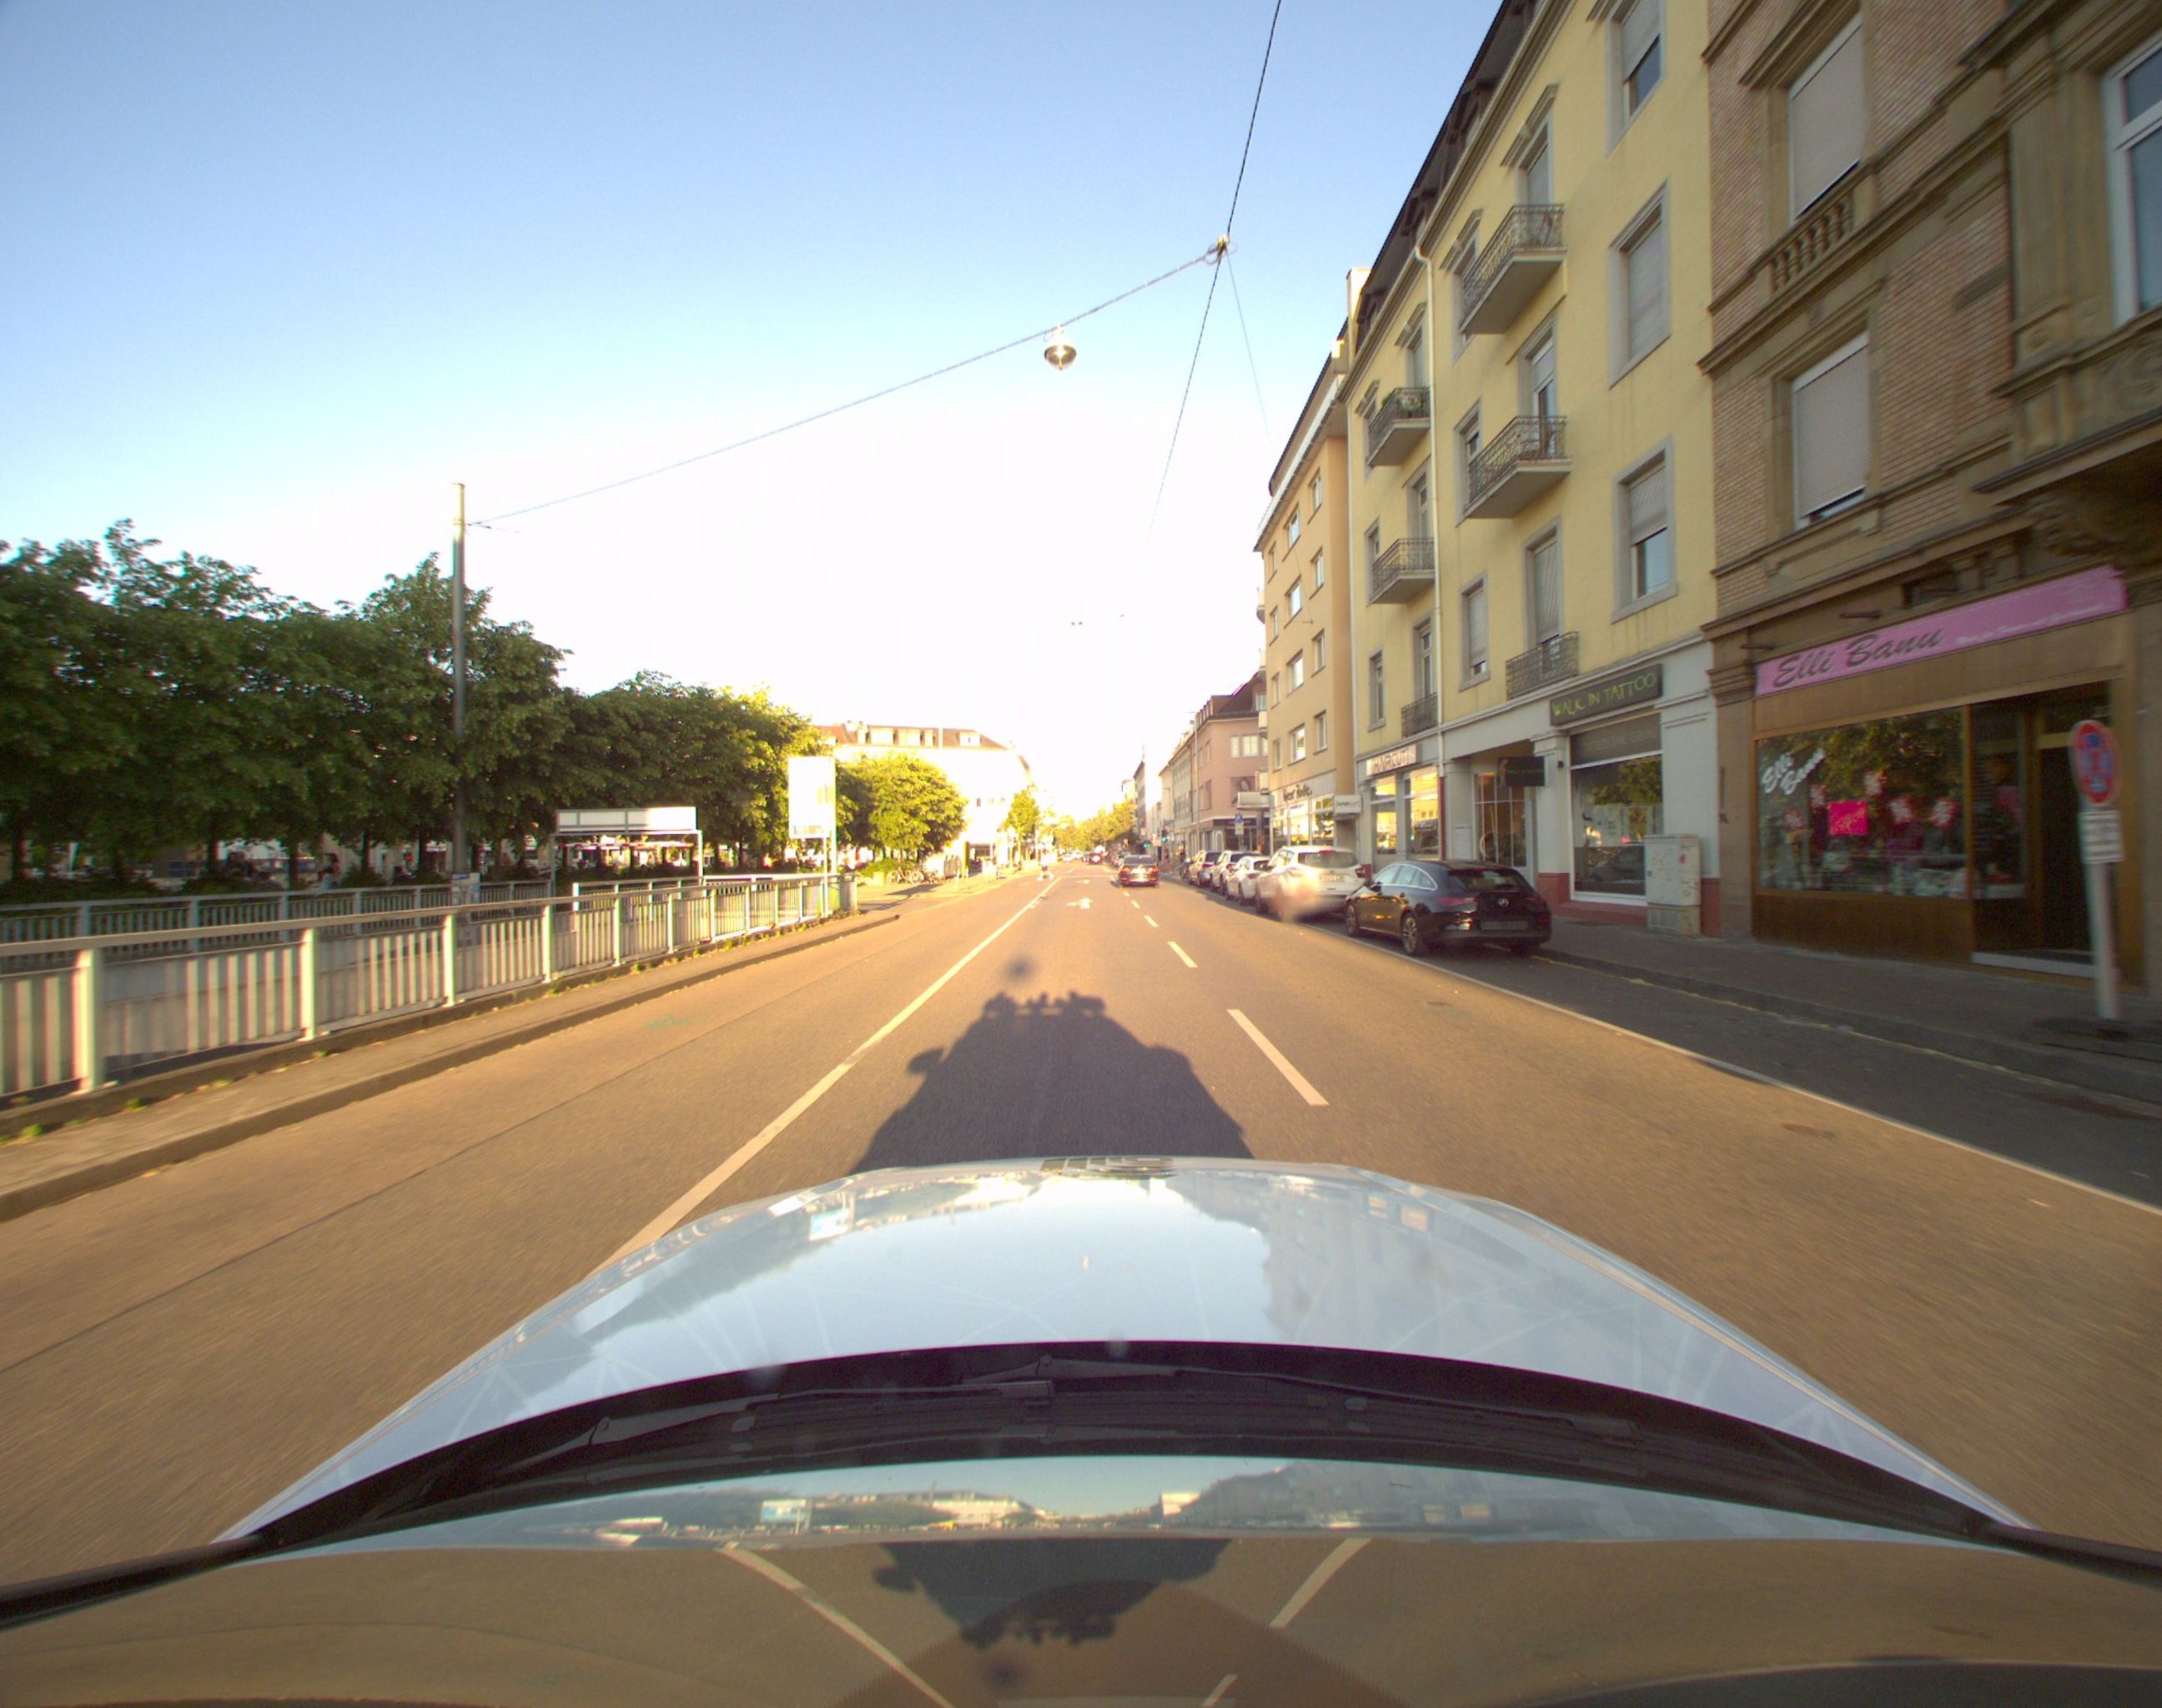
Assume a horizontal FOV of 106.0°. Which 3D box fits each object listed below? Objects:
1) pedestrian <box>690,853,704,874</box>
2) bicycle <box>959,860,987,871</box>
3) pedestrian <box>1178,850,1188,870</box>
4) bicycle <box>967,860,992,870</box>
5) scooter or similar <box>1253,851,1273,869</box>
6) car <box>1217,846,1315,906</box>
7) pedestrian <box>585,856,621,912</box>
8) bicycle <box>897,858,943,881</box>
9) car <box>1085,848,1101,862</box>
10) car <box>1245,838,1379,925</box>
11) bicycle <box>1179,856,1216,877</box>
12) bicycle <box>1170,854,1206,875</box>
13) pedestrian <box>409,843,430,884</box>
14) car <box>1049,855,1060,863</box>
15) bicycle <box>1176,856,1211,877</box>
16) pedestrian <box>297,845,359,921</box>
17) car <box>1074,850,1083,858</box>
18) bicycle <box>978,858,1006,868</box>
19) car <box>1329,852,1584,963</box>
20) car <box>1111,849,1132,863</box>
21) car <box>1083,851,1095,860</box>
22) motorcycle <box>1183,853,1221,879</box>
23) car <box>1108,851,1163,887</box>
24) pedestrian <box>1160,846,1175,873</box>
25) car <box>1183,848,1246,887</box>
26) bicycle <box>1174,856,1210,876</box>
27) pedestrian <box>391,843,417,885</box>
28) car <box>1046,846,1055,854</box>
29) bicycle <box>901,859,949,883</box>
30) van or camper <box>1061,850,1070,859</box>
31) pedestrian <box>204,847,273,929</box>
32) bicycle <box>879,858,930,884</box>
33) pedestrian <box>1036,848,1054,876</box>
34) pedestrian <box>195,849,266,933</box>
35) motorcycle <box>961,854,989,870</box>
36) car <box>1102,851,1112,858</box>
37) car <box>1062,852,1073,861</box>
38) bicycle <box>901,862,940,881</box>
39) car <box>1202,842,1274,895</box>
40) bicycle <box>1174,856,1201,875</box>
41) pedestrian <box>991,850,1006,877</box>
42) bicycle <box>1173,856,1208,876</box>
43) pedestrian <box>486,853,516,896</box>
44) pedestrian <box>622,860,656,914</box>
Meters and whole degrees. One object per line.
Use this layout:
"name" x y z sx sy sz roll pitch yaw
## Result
"pedestrian" -32.091 0.790 68.093 0.885 1.778 0.714 -1 0 38
"bicycle" -10.205 1.077 76.955 2.517 0.919 0.700 -1 0 -2
"pedestrian" 9.267 0.539 73.907 0.756 1.777 1.047 -1 0 -4
"bicycle" -9.765 1.051 78.218 2.321 0.919 0.700 -1 0 -2
"scooter or similar" 12.496 0.411 55.949 1.305 1.264 0.527 0 0 22
"car" 5.529 0.586 24.975 2.008 1.543 4.871 -1 1 1
"pedestrian" -16.810 1.052 28.653 0.796 1.948 0.733 -1 0 13
"bicycle" -8.709 0.846 44.078 2.424 1.237 0.462 -1 0 -2
"car" 1.519 0.138 105.670 1.987 1.750 4.001 -1 0 1
"car" 5.253 0.529 19.200 1.876 1.745 4.660 -1 1 0
"bicycle" 6.315 0.694 44.174 1.879 1.112 0.592 0 -2 -3
"bicycle" 6.104 0.590 46.501 1.880 1.167 0.722 -1 0 -3
"pedestrian" -31.974 0.467 39.369 0.734 1.948 0.795 -1 0 -40
"car" -5.270 1.021 162.591 1.887 1.596 4.002 -1 0 2
"bicycle" 6.215 0.689 45.008 1.879 1.112 0.521 0 0 -3
"pedestrian" -20.425 0.771 22.094 0.903 2.013 0.924 -1 0 23
"car" -0.558 0.022 187.723 1.986 1.750 4.002 -1 0 2
"bicycle" -9.568 1.002 87.549 2.930 1.022 0.844 -1 0 3
"car" 5.722 0.708 13.235 1.986 1.434 4.851 -1 0 1
"car" 4.580 0.235 92.884 2.326 1.604 3.894 -1 0 1
"car" 1.400 0.246 135.311 1.877 1.486 4.002 -1 0 2
"motorcycle" 6.241 0.610 42.141 1.807 1.263 0.715 -2 0 -3
"car" 2.341 0.610 36.088 1.885 1.492 4.199 -1 0 -4
"pedestrian" 5.565 0.347 52.593 0.793 1.720 0.810 -1 0 -7
"car" 5.960 0.547 36.792 1.988 1.613 4.802 -1 0 -1
"bicycle" 6.199 0.655 45.548 1.879 1.112 0.601 -1 0 -3
"pedestrian" -32.459 0.476 39.035 0.807 1.948 0.681 -1 0 -29
"car" -7.854 -1.069 209.625 1.821 2.013 3.678 -1 0 2
"bicycle" -8.290 0.903 43.396 2.424 1.237 0.517 1 0 -2
"van or camper" -4.220 0.125 220.488 2.467 2.405 3.995 0 0 -3
"pedestrian" -21.197 0.830 20.504 0.903 2.013 0.924 -1 0 23
"bicycle" -9.076 0.867 41.885 2.482 1.284 0.820 0 0 21
"pedestrian" -2.169 0.479 49.426 0.873 1.720 0.753 0 0 -24
"pedestrian" -20.813 0.880 19.944 0.903 2.013 0.924 -1 0 23
"motorcycle" -9.813 0.737 75.144 2.405 1.426 1.112 -1 0 -1
"car" 6.181 0.113 194.421 1.889 1.596 3.996 -1 0 -2
"car" -2.507 0.486 150.074 1.887 1.596 4.002 -1 0 2
"bicycle" -8.792 0.960 44.664 2.037 0.971 0.635 1 0 -2
"car" 5.822 0.464 30.695 1.861 1.762 4.408 -1 1 0
"bicycle" 6.262 0.661 47.912 1.497 1.026 0.512 -2 0 -4
"pedestrian" -5.181 0.593 51.141 0.882 1.720 0.713 -1 0 -11
"bicycle" 6.342 0.689 47.310 1.880 1.112 0.761 -1 0 -3
"pedestrian" -26.409 0.934 37.113 0.797 1.948 0.732 -1 0 8
"pedestrian" -16.492 1.227 30.421 0.796 1.948 0.733 -1 0 13
